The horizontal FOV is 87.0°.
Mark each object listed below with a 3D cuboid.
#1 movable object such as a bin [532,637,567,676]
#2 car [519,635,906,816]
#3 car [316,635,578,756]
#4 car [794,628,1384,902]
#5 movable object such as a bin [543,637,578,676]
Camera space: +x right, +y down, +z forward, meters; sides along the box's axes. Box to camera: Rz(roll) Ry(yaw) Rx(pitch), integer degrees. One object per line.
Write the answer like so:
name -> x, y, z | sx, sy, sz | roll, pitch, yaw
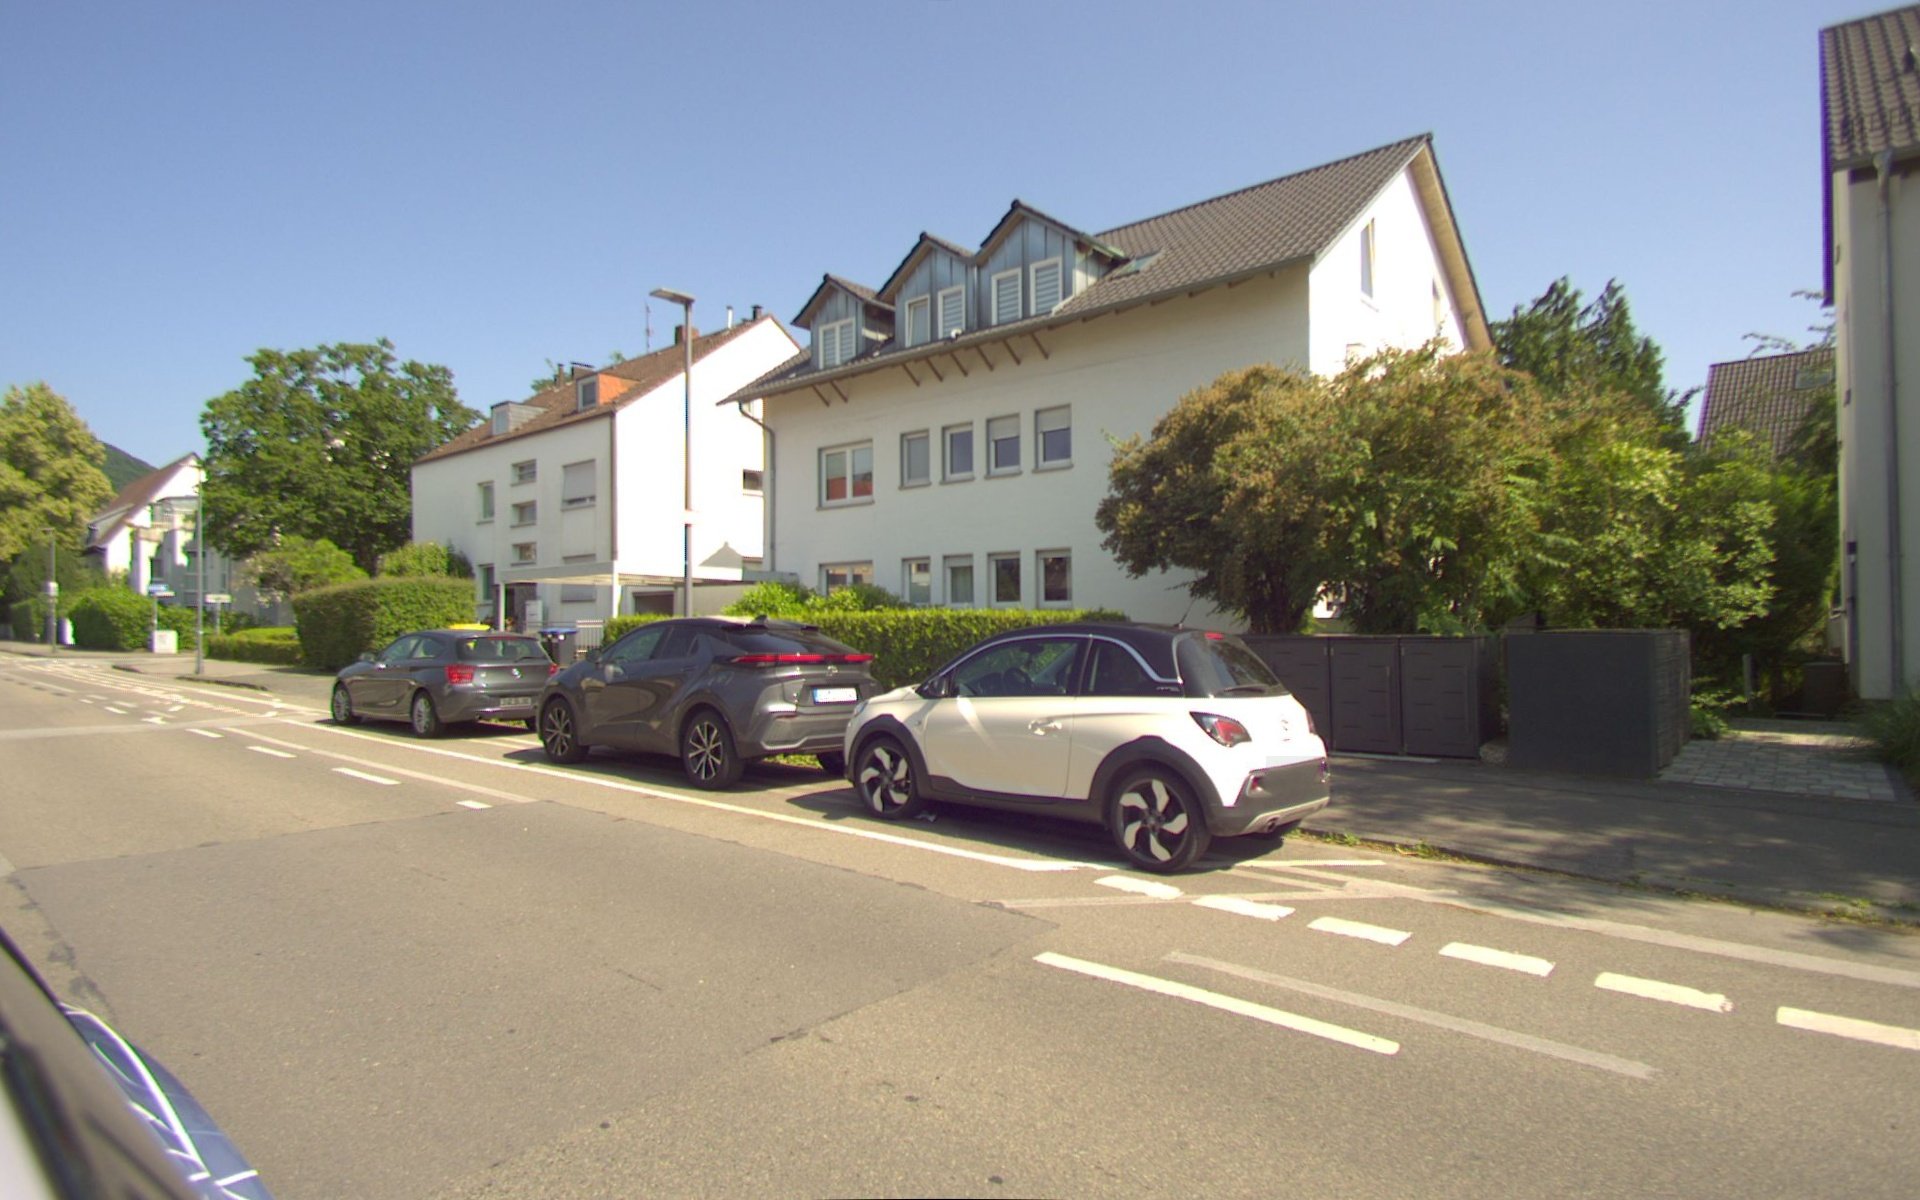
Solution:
movable object such as a bin -> -12.080, 1.642, 29.792 | 0.706, 1.100, 0.694 | -1, 0, 37
car -> -2.638, 1.090, 10.254 | 4.108, 1.451, 1.767 | -2, -2, 41
car -> -7.358, 1.233, 14.360 | 4.150, 1.451, 1.768 | -1, -2, 39
car -> 0.756, 0.951, 7.420 | 3.998, 1.451, 1.766 | -1, -3, 42
movable object such as a bin -> -11.611, 1.638, 29.423 | 0.706, 1.100, 0.694 | -1, 0, 37
